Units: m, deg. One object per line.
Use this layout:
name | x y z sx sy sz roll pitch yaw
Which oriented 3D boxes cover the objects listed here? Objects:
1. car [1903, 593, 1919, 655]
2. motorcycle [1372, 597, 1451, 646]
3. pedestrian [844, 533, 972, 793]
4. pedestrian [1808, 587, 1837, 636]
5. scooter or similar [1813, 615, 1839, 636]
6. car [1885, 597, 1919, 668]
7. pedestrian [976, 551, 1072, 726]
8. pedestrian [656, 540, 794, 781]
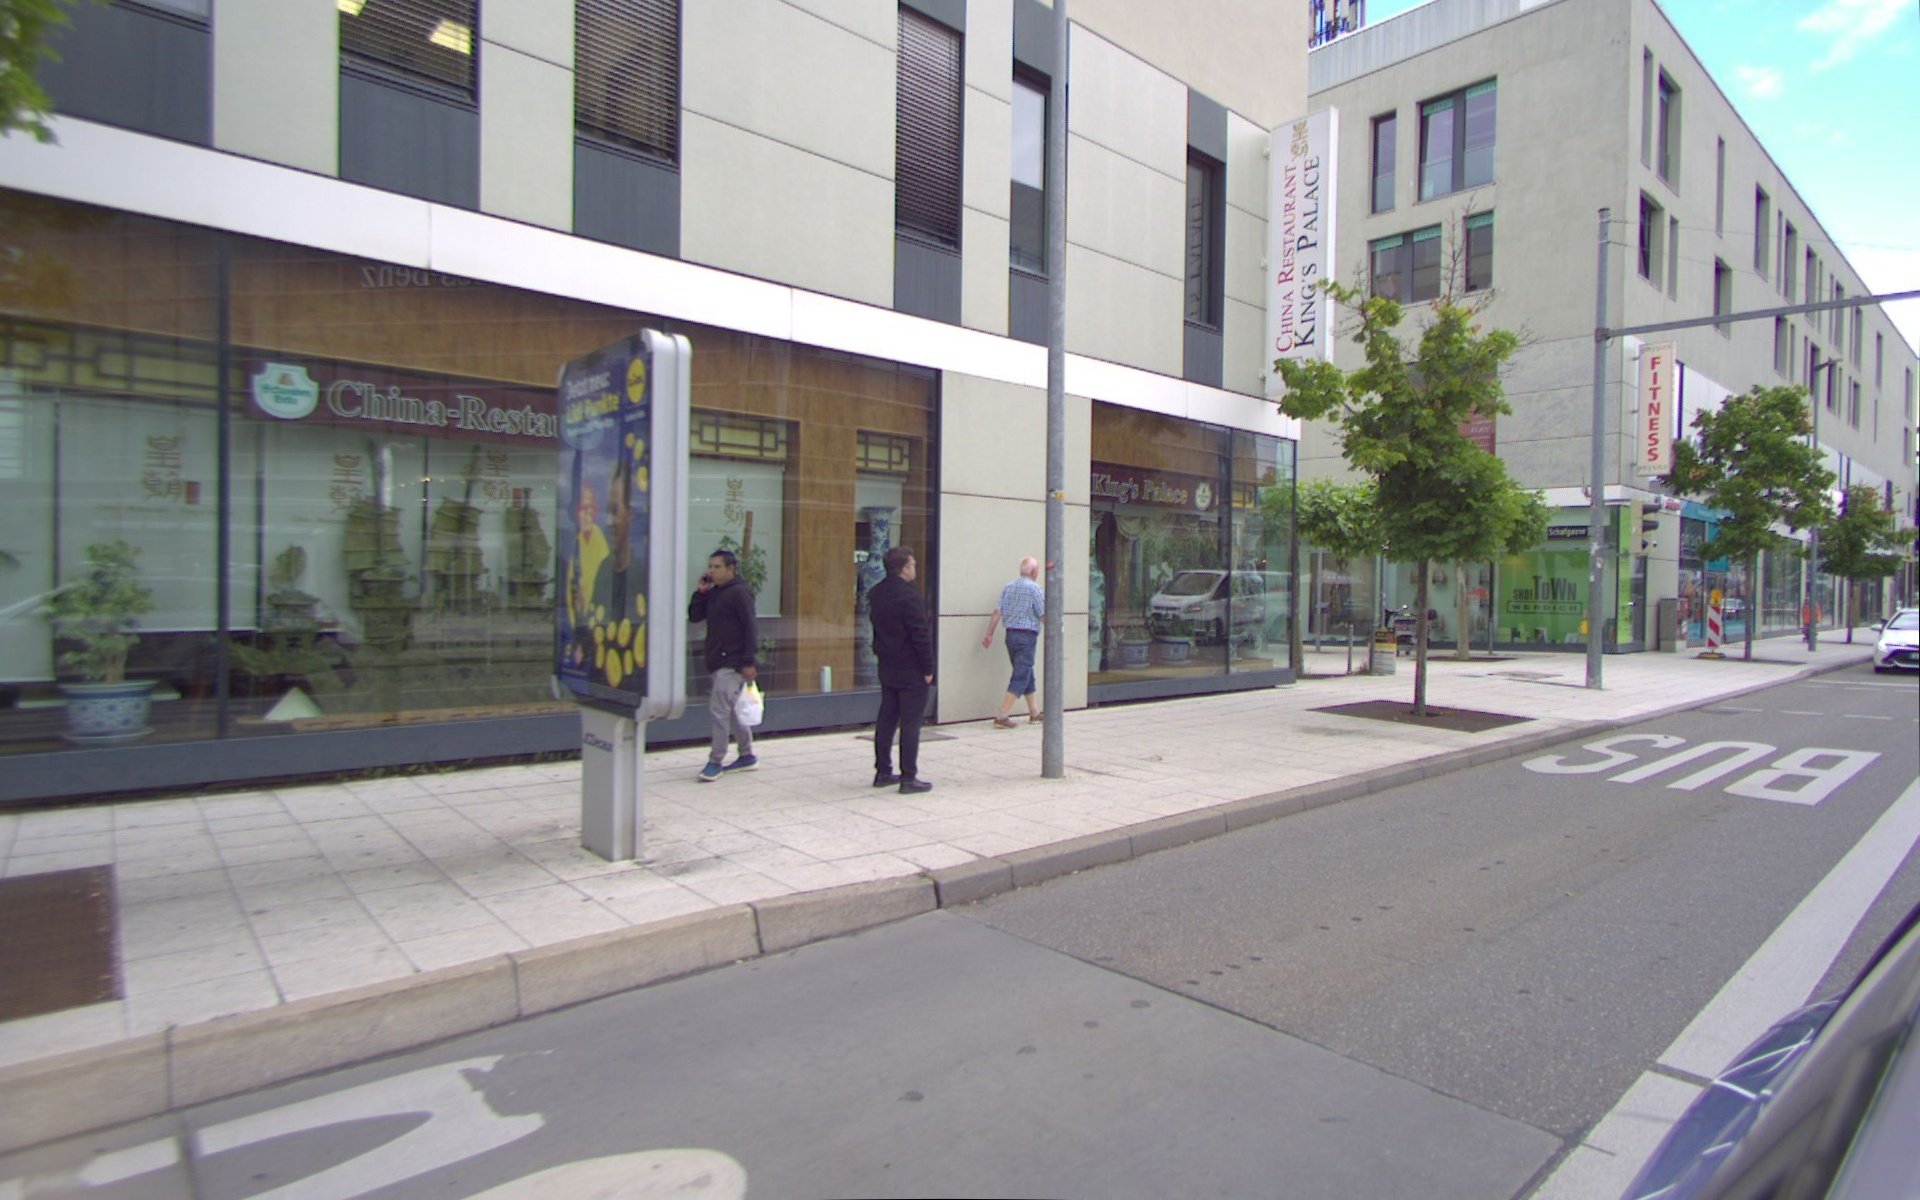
car | 26.462 0.583 26.796 4.707 1.561 1.739 0 0 -42
motorcycle | 12.320 0.569 27.648 0.584 1.274 1.841 -3 1 -43
pedestrian | -0.367 0.403 7.042 0.603 1.690 0.656 0 1 -40
pedestrian | 28.545 0.379 33.487 0.719 1.586 0.590 0 2 -41
scooter or similar | 29.088 0.859 33.987 0.754 0.642 0.552 0 2 -41
car | 21.961 0.680 22.418 4.437 1.443 1.785 0 0 -42
pedestrian | 0.644 0.367 10.254 0.603 1.690 0.746 0 1 -40
pedestrian | -1.710 0.399 7.345 0.702 1.628 0.742 0 1 -40
